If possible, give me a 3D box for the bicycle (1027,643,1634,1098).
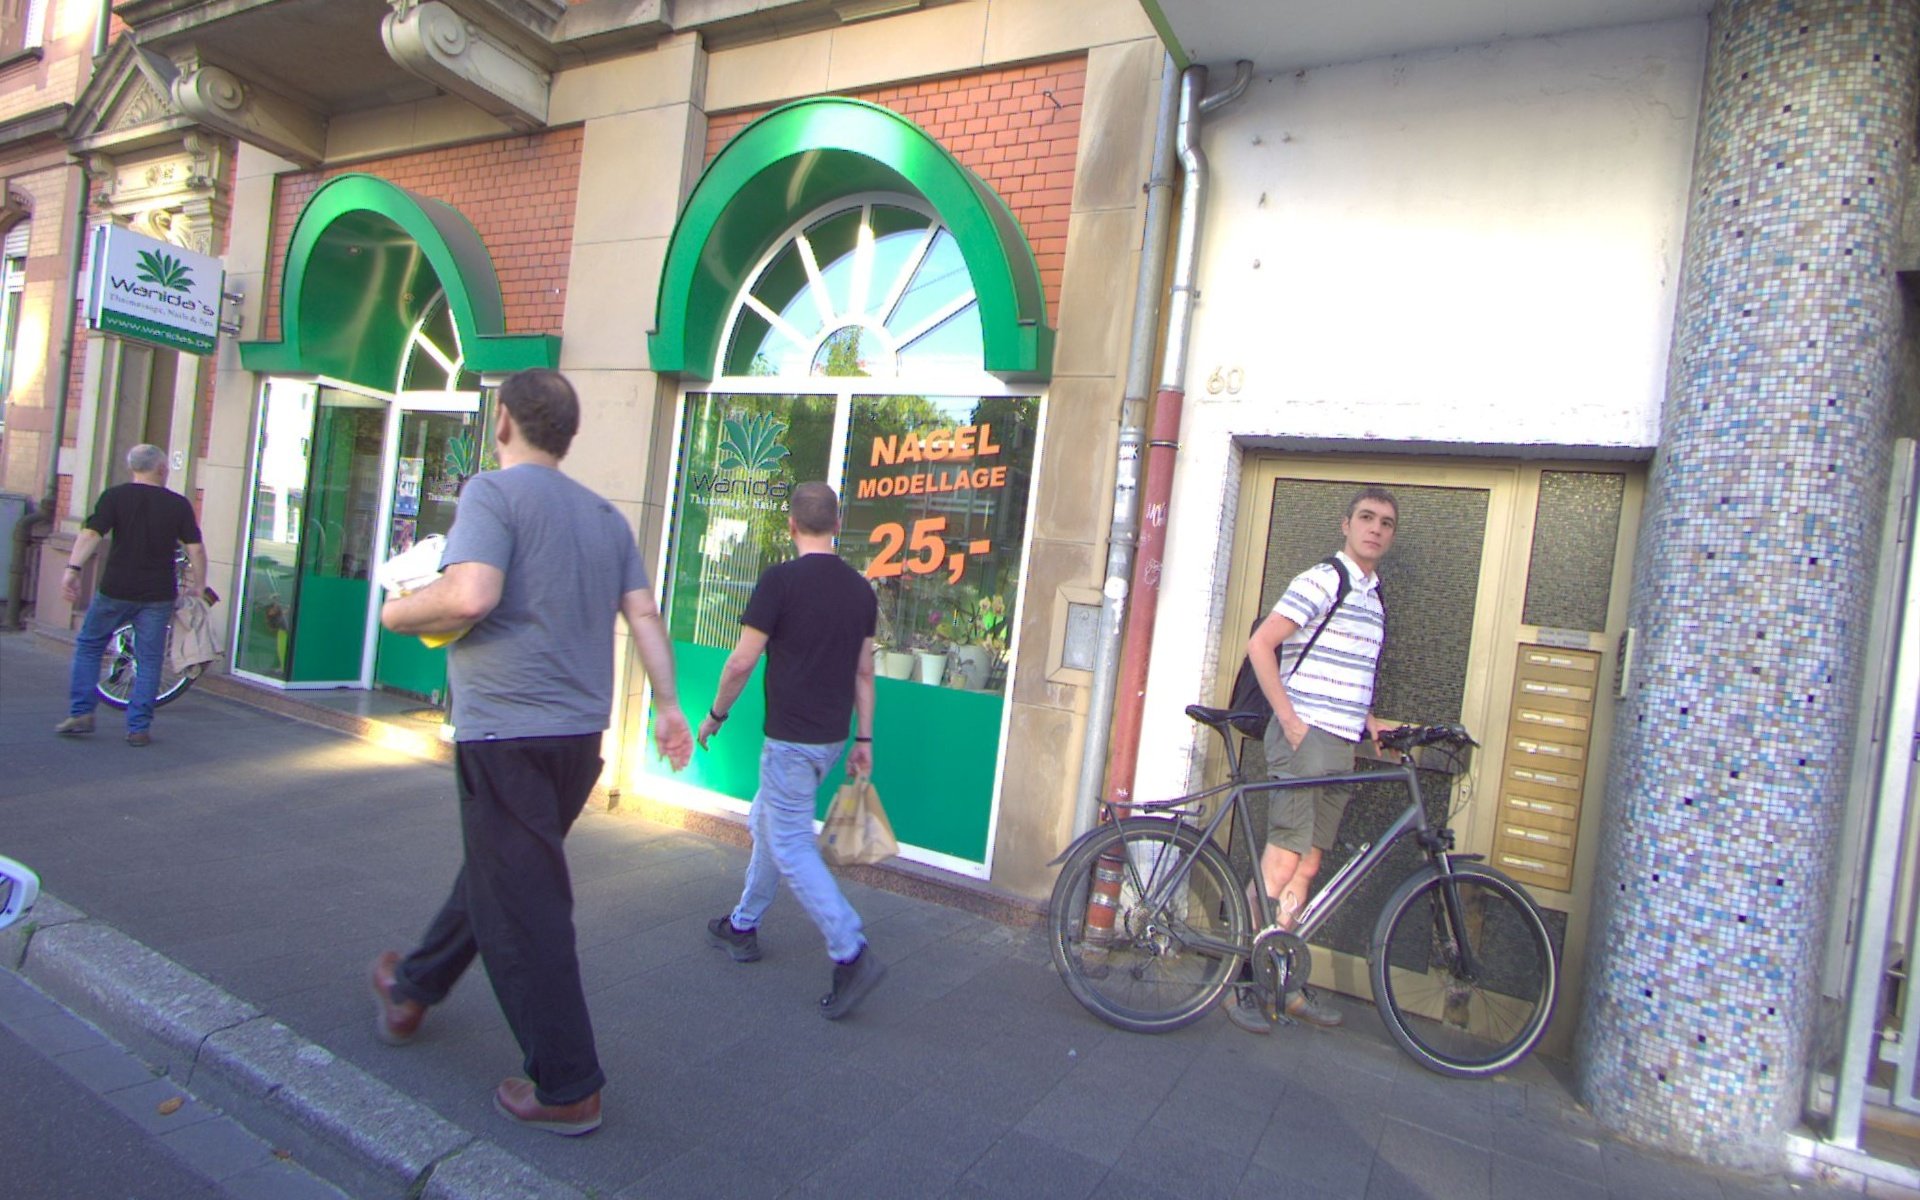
[{"bbox_3d":[1.251,0.917,3.714,1.859,1.269,0.668,7,1,3],"label":"bicycle"}]

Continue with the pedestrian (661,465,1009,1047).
[{"bbox_3d":[-0.420,0.472,3.551,0.741,1.746,0.776,7,2,29],"label":"pedestrian"}]

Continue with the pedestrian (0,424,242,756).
[{"bbox_3d":[-4.846,-0.061,5.826,0.741,1.746,0.776,7,2,29],"label":"pedestrian"}]

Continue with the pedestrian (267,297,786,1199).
[{"bbox_3d":[-1.101,0.310,2.641,0.741,1.919,0.822,7,2,29],"label":"pedestrian"}]

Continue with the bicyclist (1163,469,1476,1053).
[{"bbox_3d":[1.276,0.551,3.715,0.730,1.906,0.600,7,1,3],"label":"bicyclist"}]

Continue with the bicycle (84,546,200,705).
[{"bbox_3d":[-5.980,0.162,7.335,1.222,1.009,0.344,7,2,38],"label":"bicycle"}]
